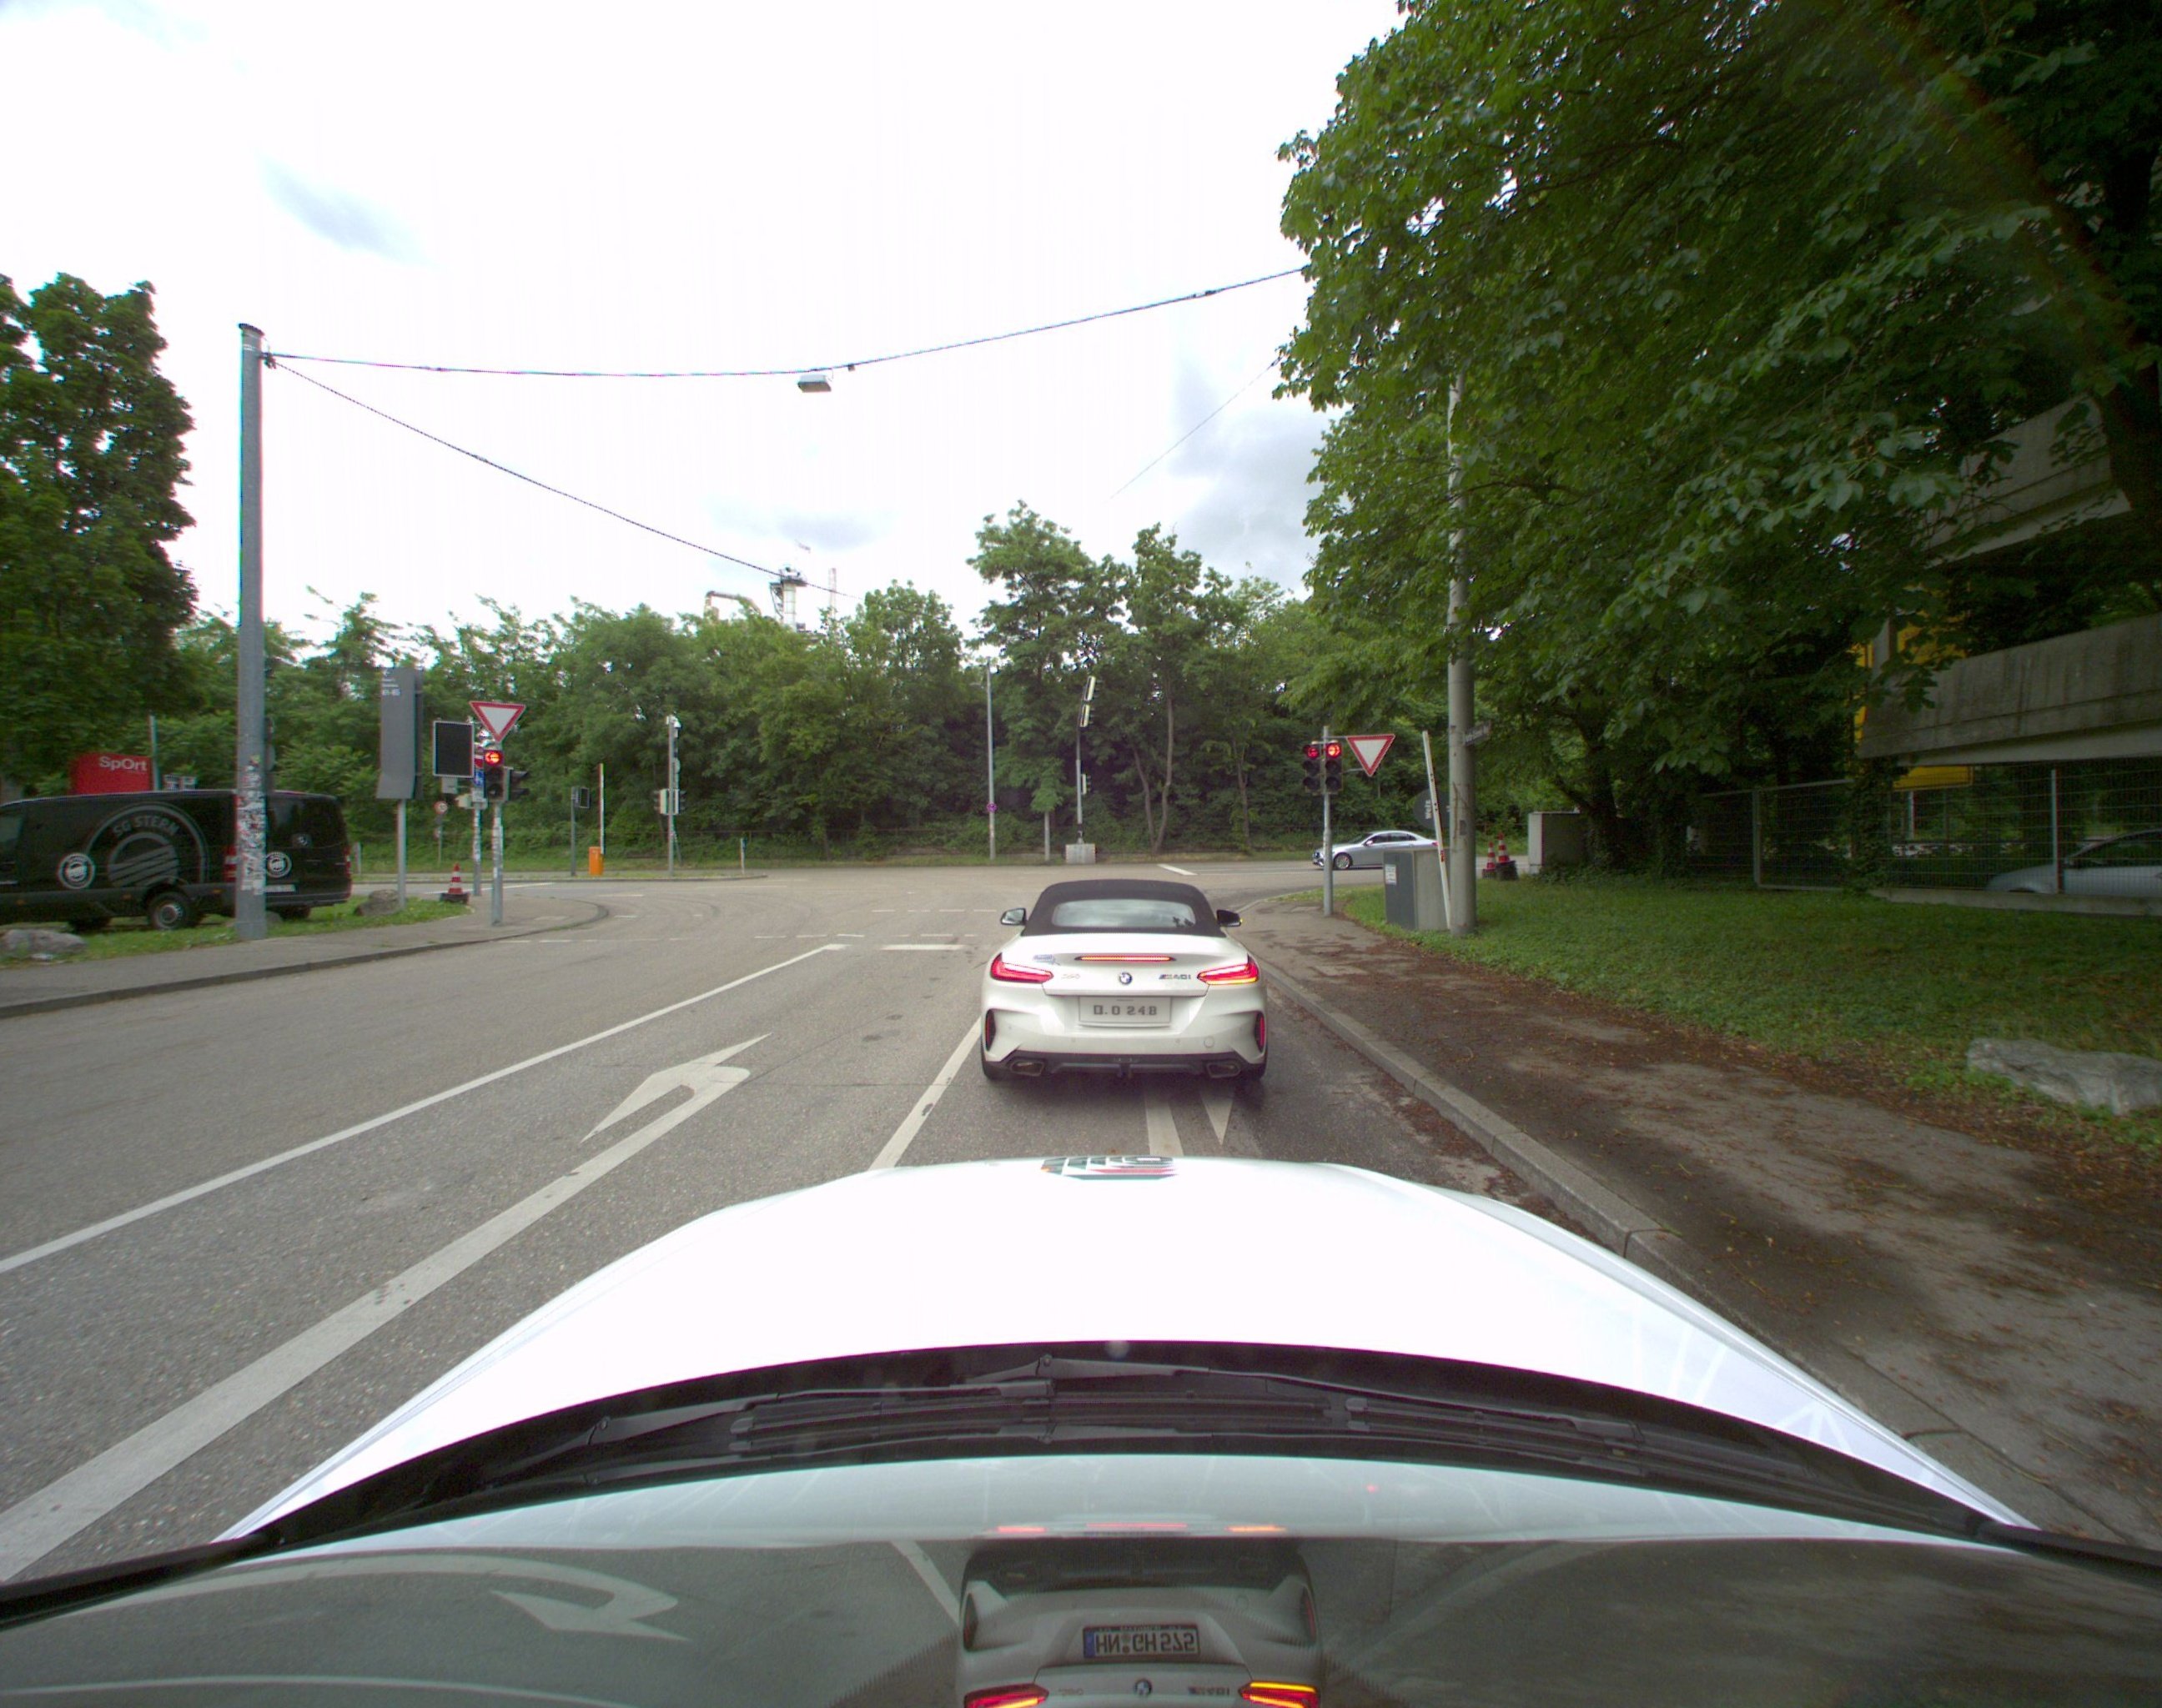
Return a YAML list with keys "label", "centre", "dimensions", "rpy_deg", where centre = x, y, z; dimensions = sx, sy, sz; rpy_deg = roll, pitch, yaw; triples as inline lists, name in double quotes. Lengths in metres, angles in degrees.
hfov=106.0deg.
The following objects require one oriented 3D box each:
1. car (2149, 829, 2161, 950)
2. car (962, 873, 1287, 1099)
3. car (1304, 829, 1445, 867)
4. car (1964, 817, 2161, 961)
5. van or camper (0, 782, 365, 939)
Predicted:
- label: "car"
  centre: [16.010, 0.457, 9.736]
  dimensions: [1.574, 1.708, 3.770]
  rpy_deg: [0, -1, 2]
- label: "car"
  centre: [0.245, 0.793, 6.580]
  dimensions: [1.822, 1.257, 3.998]
  rpy_deg: [0, -1, 0]
- label: "car"
  centre: [11.115, -0.246, 31.045]
  dimensions: [4.735, 1.333, 1.834]
  rpy_deg: [-1, 2, 0]
- label: "car"
  centre: [13.616, 0.431, 10.044]
  dimensions: [1.475, 1.708, 3.720]
  rpy_deg: [0, -1, 2]
- label: "van or camper"
  centre: [-15.887, 0.158, 13.944]
  dimensions: [5.513, 2.314, 2.063]
  rpy_deg: [-2, -2, 2]
